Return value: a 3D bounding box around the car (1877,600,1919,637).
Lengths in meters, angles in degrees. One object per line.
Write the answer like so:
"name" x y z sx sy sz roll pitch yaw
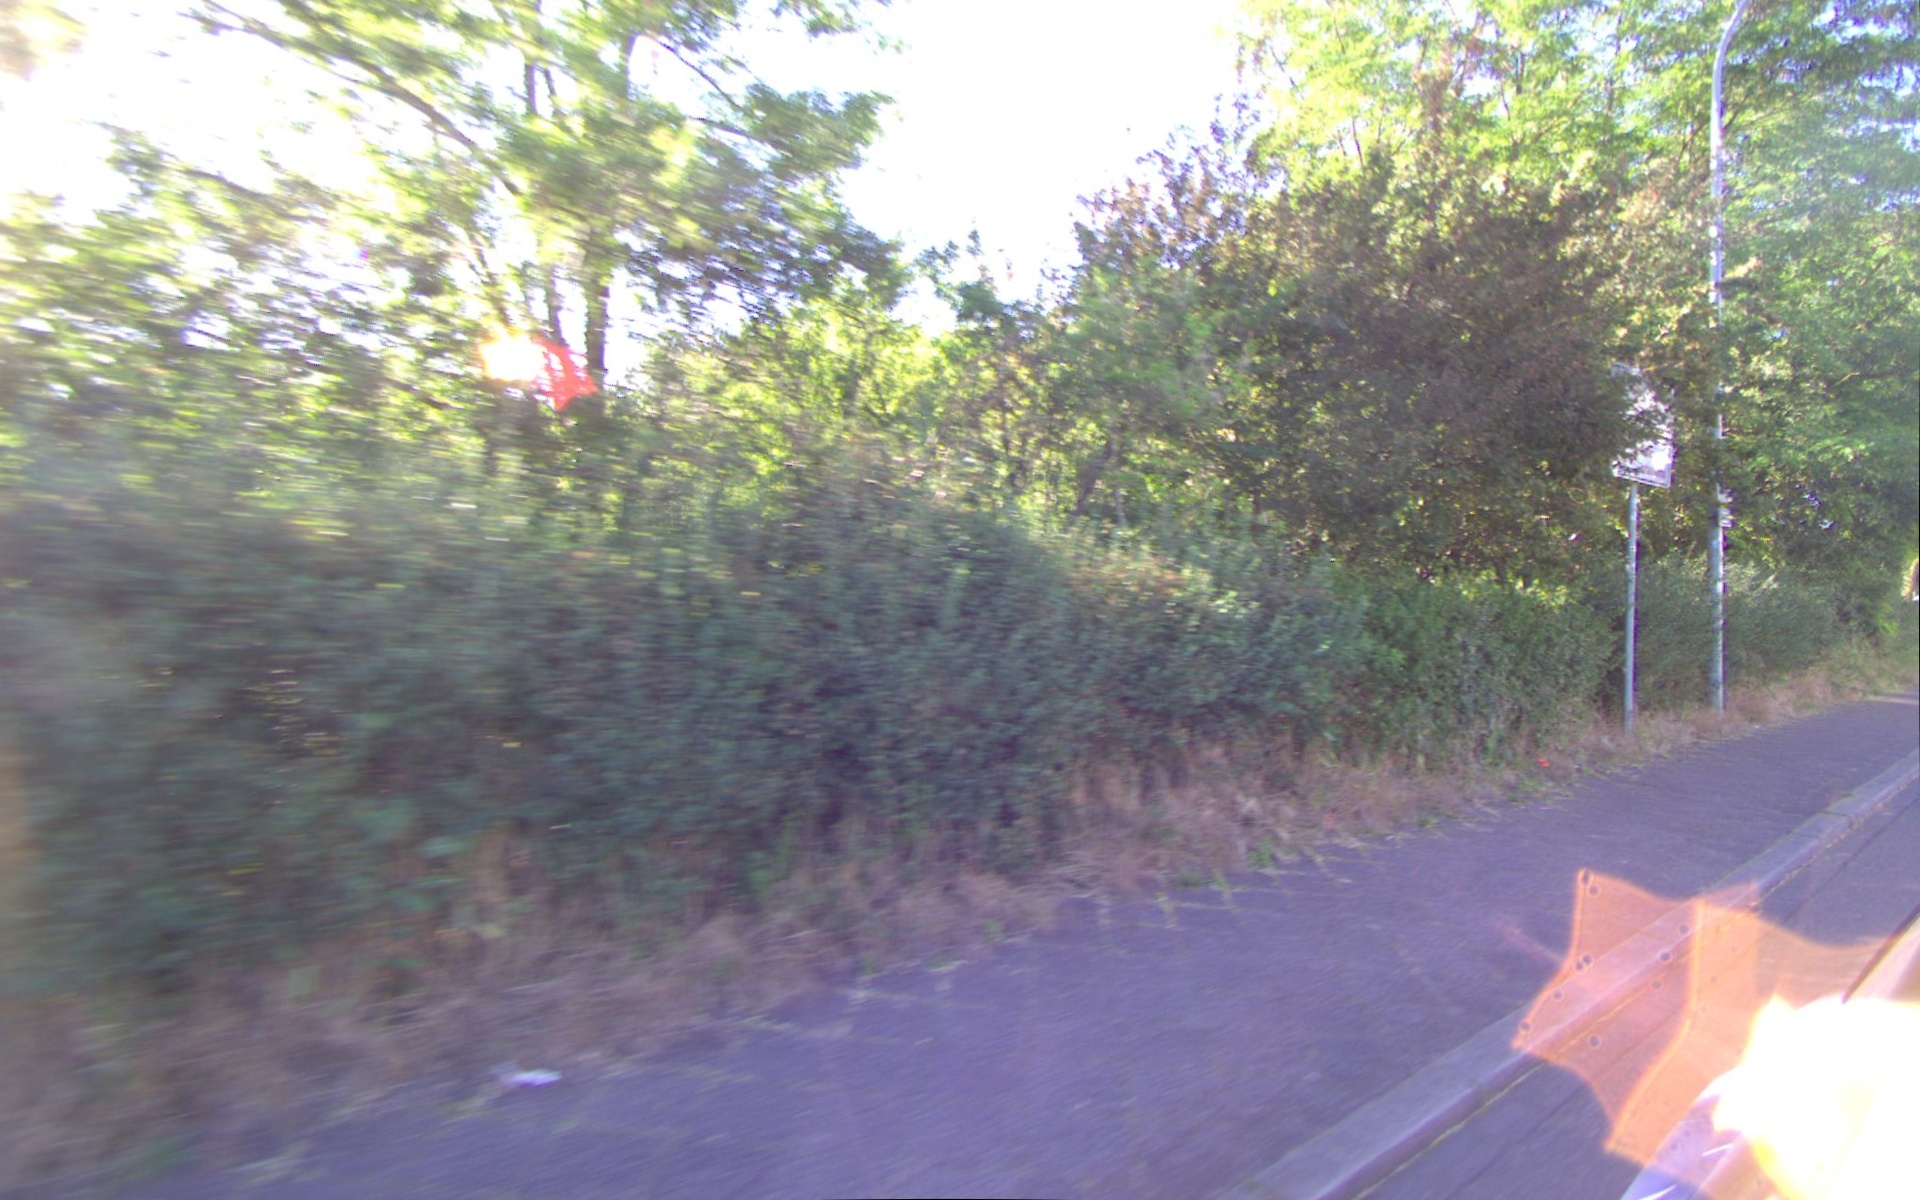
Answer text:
"car" 38.203 0.710 38.747 1.745 1.432 4.455 0 0 -43

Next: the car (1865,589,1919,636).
"car" 36.107 0.451 37.108 1.744 1.716 4.156 0 0 -40

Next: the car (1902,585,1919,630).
"car" 45.457 0.371 45.473 1.986 2.042 4.458 0 1 -42
